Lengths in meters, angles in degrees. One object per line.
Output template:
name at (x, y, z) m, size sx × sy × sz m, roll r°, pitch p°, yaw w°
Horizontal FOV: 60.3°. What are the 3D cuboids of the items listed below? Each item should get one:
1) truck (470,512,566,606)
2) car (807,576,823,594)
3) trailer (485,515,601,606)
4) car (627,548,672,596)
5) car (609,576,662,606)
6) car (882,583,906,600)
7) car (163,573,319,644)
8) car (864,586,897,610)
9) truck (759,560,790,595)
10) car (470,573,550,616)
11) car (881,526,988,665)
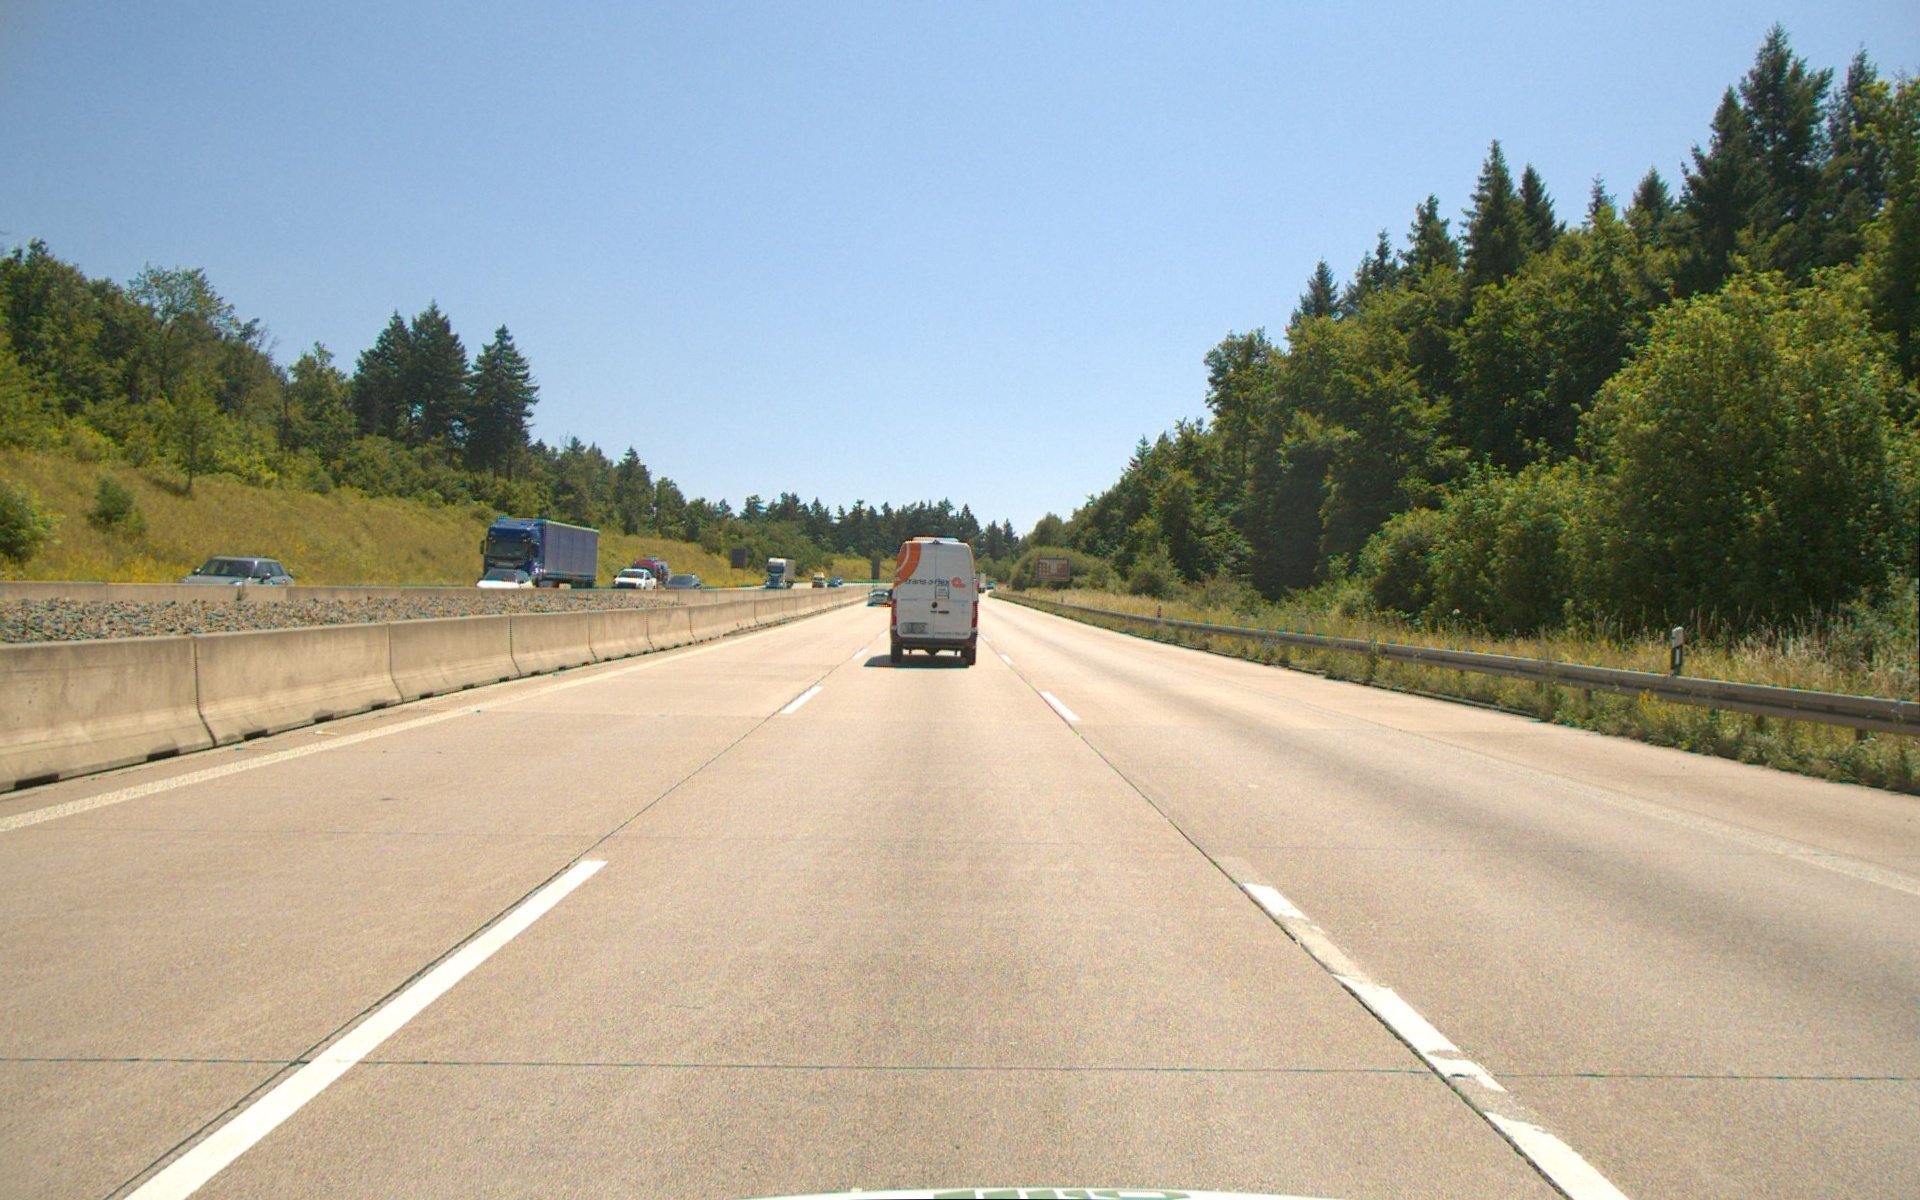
truck at (-22.767, -2.044, 85.627) m, size 3.191 × 4.583 × 6.572 m, roll 2°, pitch 0°, yaw -2°
car at (-21.997, -2.311, 251.548) m, size 1.953 × 2.529 × 5.178 m, roll 2°, pitch 1°, yaw -1°
trailer at (-22.941, -2.042, 91.956) m, size 3.191 × 4.583 × 13.734 m, roll 2°, pitch 0°, yaw -2°
car at (-22.490, -1.985, 120.109) m, size 1.953 × 3.298 × 7.059 m, roll 2°, pitch 0°, yaw -1°
car at (-18.550, -0.493, 94.823) m, size 1.953 × 1.610 × 5.518 m, roll 2°, pitch 0°, yaw -1°
car at (-6.698, -0.850, 168.392) m, size 1.952 × 1.713 × 4.001 m, roll 2°, pitch 0°, yaw 3°
car at (-17.868, 0.197, 41.330) m, size 1.953 × 1.610 × 4.429 m, roll 2°, pitch 0°, yaw -1°
car at (-5.889, -0.159, 122.936) m, size 1.952 × 1.713 × 4.001 m, roll 2°, pitch 0°, yaw 3°
truck at (-25.568, -3.109, 228.366) m, size 3.190 × 4.583 × 7.984 m, roll 2°, pitch 0°, yaw -1°
car at (-18.131, -0.201, 66.842) m, size 1.953 × 1.610 × 4.529 m, roll 2°, pitch 0°, yaw -1°
car at (-0.608, -0.131, 38.251) m, size 2.181 × 2.893 × 5.453 m, roll 2°, pitch 1°, yaw -1°
